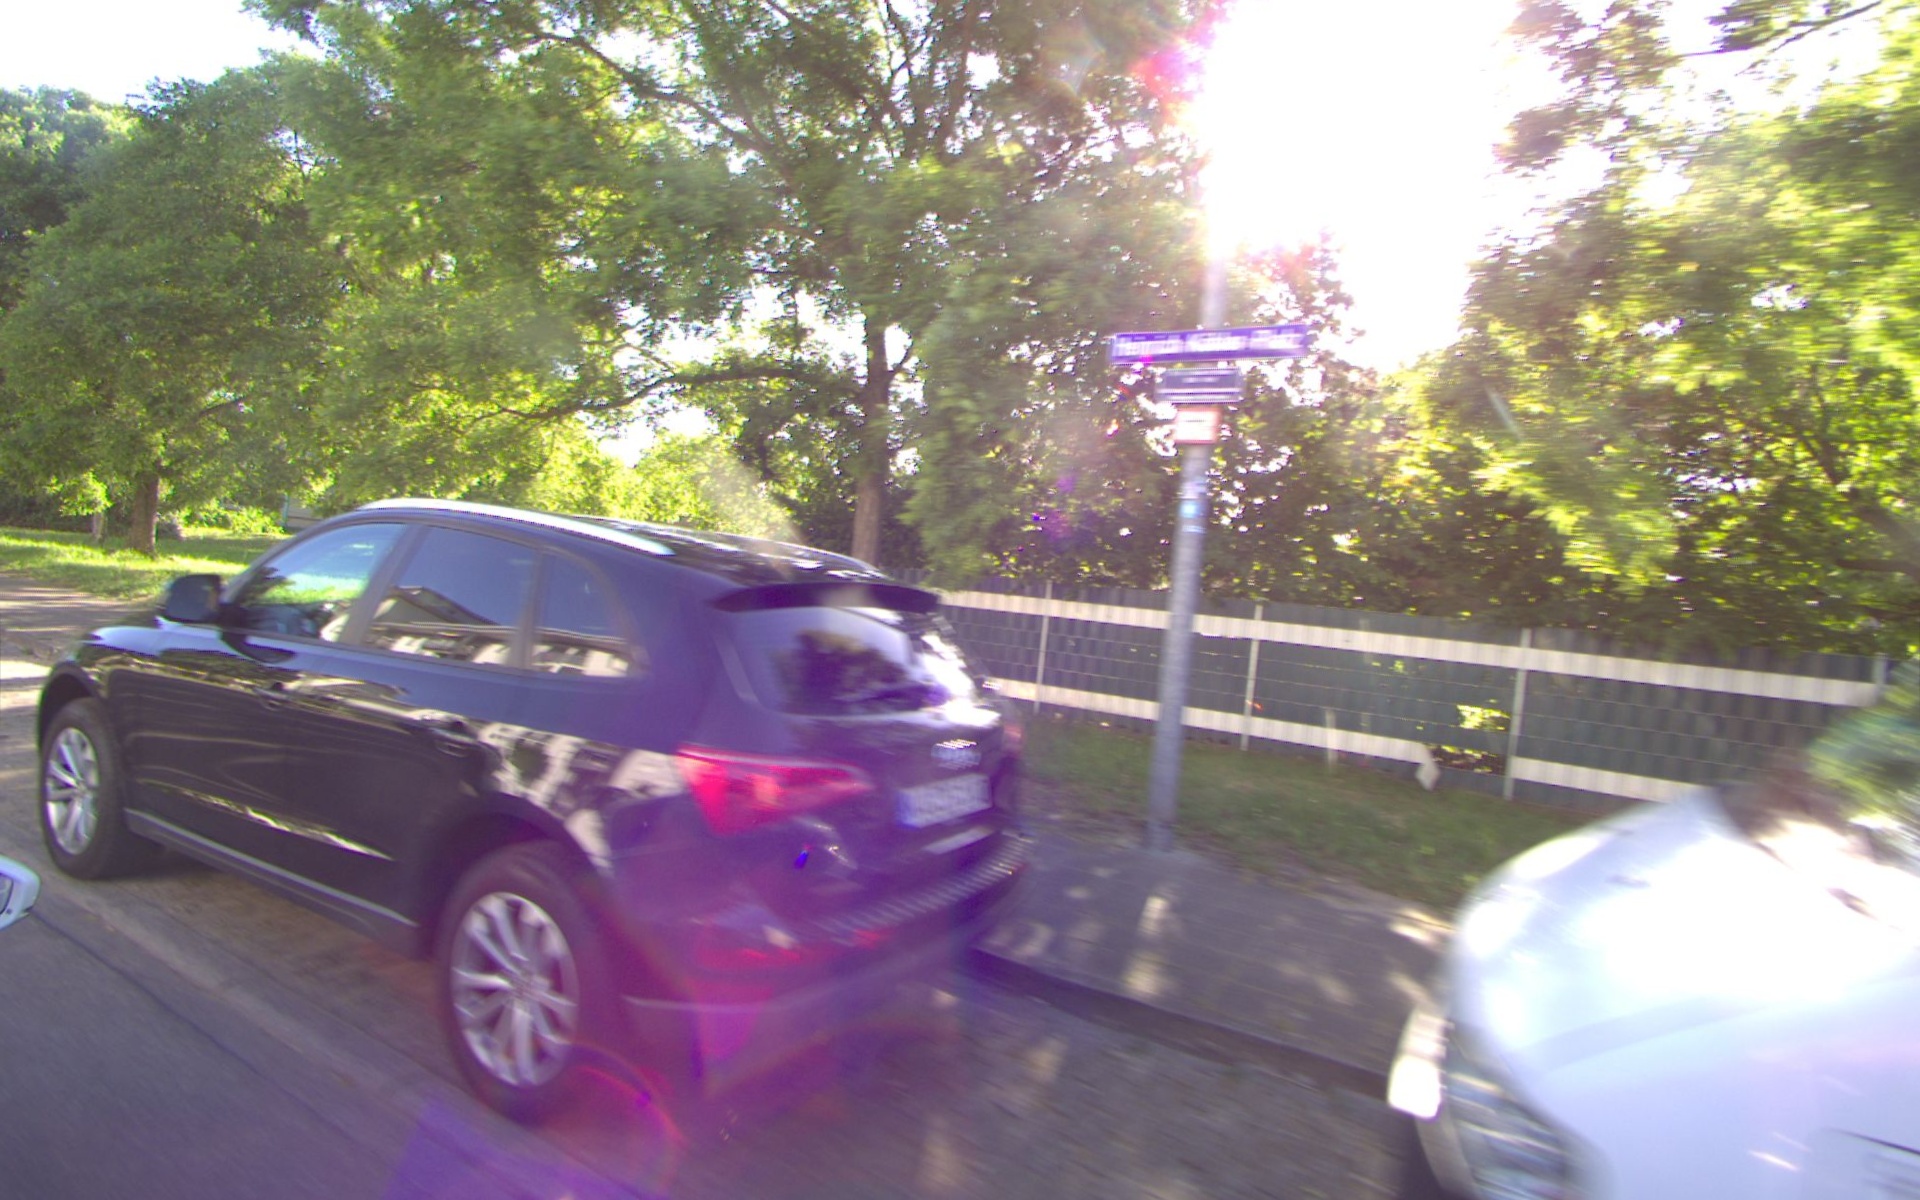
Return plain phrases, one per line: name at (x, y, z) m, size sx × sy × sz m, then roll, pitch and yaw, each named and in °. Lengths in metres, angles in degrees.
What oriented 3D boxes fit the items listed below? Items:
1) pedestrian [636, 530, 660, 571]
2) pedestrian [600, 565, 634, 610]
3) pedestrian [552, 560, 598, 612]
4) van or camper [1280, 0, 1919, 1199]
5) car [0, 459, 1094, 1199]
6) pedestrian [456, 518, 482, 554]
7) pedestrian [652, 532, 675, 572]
pedestrian at (-16.579, -2.619, 53.494) m, size 0.841 × 2.040 × 0.636 m, roll 6°, pitch 2°, yaw 18°
pedestrian at (-8.867, -0.322, 26.027) m, size 0.498 × 1.103 × 0.634 m, roll 6°, pitch 2°, yaw 12°
pedestrian at (-8.962, -0.318, 23.403) m, size 0.718 × 1.103 × 0.695 m, roll 4°, pitch 2°, yaw -42°
van or camper at (3.754, 0.595, 0.690) m, size 6.318 × 2.633 × 2.351 m, roll 6°, pitch 4°, yaw 31°
car at (-1.961, 0.447, 4.188) m, size 4.459 × 1.662 × 1.995 m, roll 6°, pitch 2°, yaw 29°
pedestrian at (-23.088, -3.018, 47.300) m, size 0.849 × 1.596 × 1.079 m, roll 5°, pitch 2°, yaw -35°
pedestrian at (-15.716, -2.529, 53.390) m, size 0.825 × 2.040 × 0.636 m, roll 6°, pitch 2°, yaw 7°
